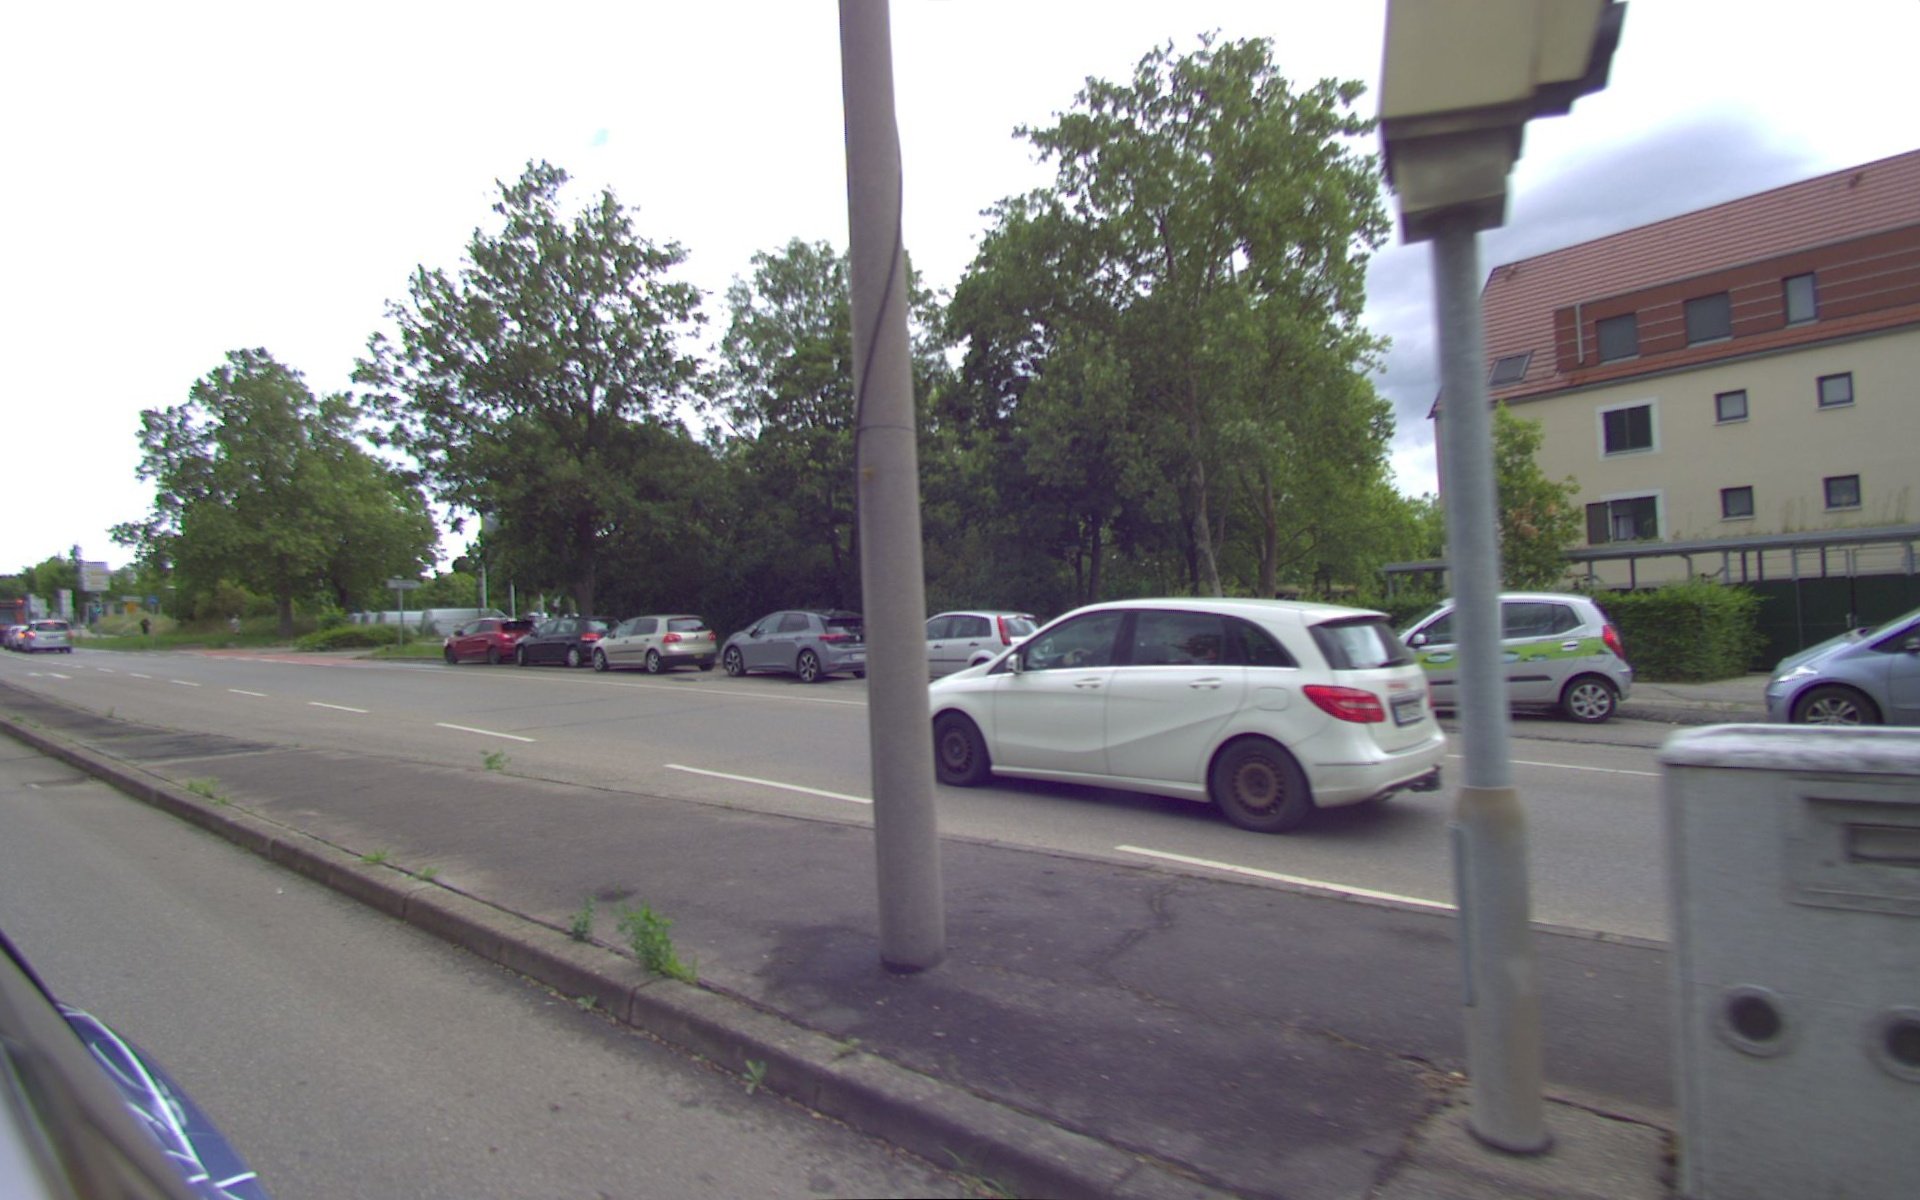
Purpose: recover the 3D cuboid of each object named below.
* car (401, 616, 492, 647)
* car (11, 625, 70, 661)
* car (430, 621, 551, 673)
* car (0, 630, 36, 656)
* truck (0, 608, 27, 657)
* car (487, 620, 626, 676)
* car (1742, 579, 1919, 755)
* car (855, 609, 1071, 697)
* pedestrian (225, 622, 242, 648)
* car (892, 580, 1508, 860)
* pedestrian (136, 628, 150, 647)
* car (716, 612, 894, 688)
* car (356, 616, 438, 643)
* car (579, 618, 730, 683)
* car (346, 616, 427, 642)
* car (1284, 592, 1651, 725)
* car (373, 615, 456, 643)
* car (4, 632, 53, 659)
[{"bbox_3d":[-35.333,2.157,69.747,2.010,2.029,5.231,-1,-2,40],"label":"car"},{"bbox_3d":[-50.282,2.333,55.335,4.403,1.783,1.810,-2,0,40],"label":"car"},{"bbox_3d":[-15.405,1.528,33.139,3.878,1.518,1.860,-2,0,34],"label":"car"},{"bbox_3d":[-60.719,2.778,65.084,3.350,1.574,1.618,-2,-1,42],"label":"car"},{"bbox_3d":[-72.596,2.443,76.408,7.827,3.507,2.793,-2,-1,45],"label":"truck"},{"bbox_3d":[-12.143,1.403,30.402,3.986,1.518,1.861,-1,0,32],"label":"car"},{"bbox_3d":[9.962,0.579,9.376,1.852,1.608,4.005,-2,0,-42],"label":"car"},{"bbox_3d":[-0.012,0.989,19.757,3.999,1.518,1.855,-2,-1,43],"label":"car"},{"bbox_3d":[-51.798,2.490,72.152,0.637,1.750,0.749,-1,0,32],"label":"pedestrian"},{"bbox_3d":[1.642,0.677,7.921,4.339,1.582,1.855,0,1,43],"label":"car"},{"bbox_3d":[-66.103,3.010,81.852,0.639,1.458,0.747,-1,1,41],"label":"pedestrian"},{"bbox_3d":[-3.566,1.088,22.947,3.999,1.518,1.855,-2,0,42],"label":"car"},{"bbox_3d":[-43.262,2.265,77.836,1.738,2.029,5.231,-1,-2,39],"label":"car"},{"bbox_3d":[-8.075,1.285,26.614,4.053,1.518,1.856,-2,0,40],"label":"car"},{"bbox_3d":[-45.009,2.263,79.519,1.738,2.029,5.231,-1,-2,39],"label":"car"},{"bbox_3d":[6.403,0.722,13.236,3.973,1.518,1.867,-2,-1,22],"label":"car"},{"bbox_3d":[-40.814,2.168,75.821,1.739,2.029,5.229,-1,-2,41],"label":"car"},{"bbox_3d":[-54.853,2.657,59.580,4.121,1.498,1.710,-2,-2,42],"label":"car"}]
